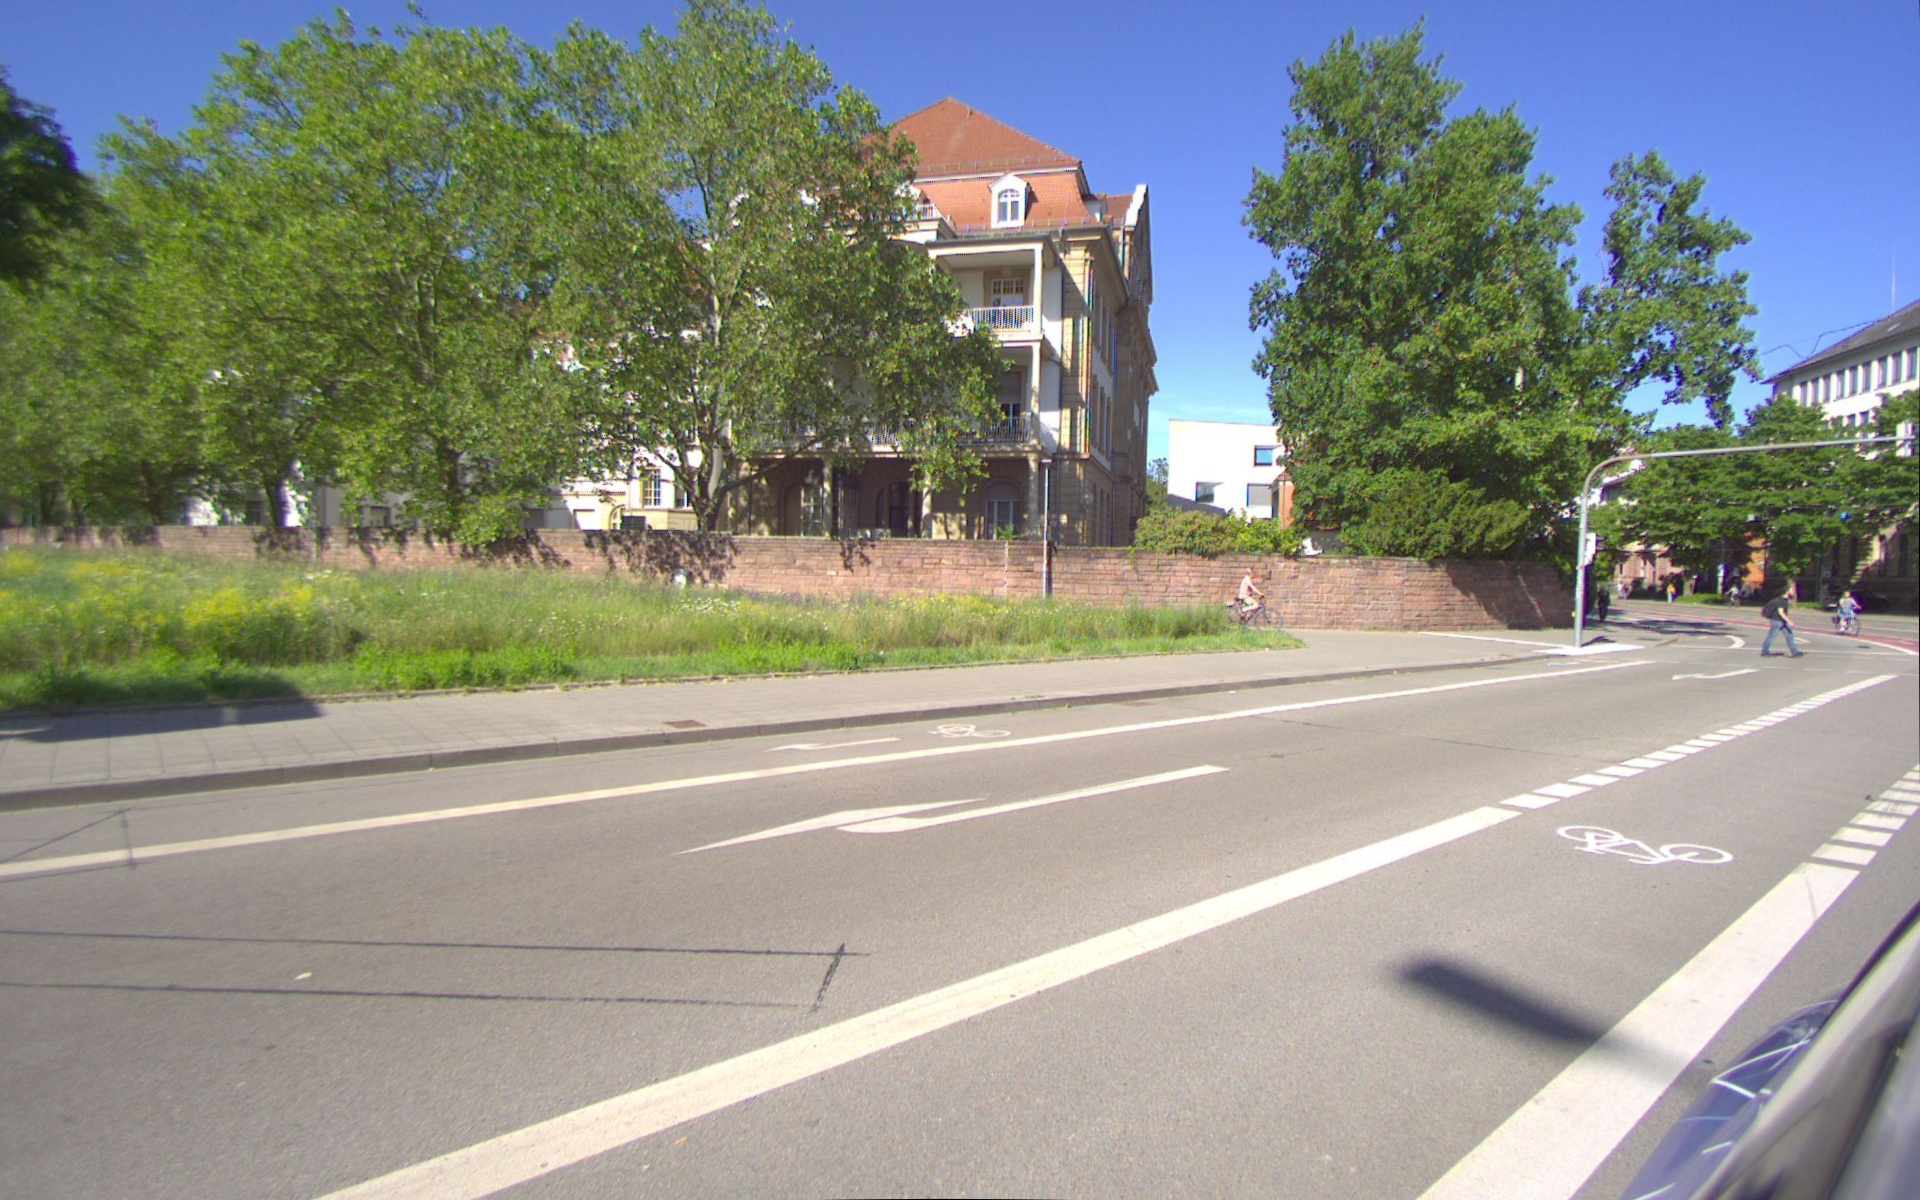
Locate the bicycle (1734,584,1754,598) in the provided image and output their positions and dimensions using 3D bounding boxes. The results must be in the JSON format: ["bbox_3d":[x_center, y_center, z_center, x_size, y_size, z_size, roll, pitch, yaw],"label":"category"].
[{"bbox_3d":[58.652,-0.667,75.723,0.593,1.019,1.975,0,1,20],"label":"bicycle"}]

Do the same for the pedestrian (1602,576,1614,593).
[{"bbox_3d":[69.867,-1.706,109.157,0.745,1.835,0.978,1,1,10],"label":"pedestrian"}]

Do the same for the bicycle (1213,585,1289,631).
[{"bbox_3d":[7.709,0.193,26.802,1.860,1.083,0.721,3,1,18],"label":"bicycle"}]

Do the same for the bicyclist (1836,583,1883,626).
[{"bbox_3d":[34.365,0.169,38.692,0.859,1.579,1.272,2,2,20],"label":"bicyclist"}]

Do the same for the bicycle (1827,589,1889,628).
[{"bbox_3d":[34.375,0.305,38.790,0.753,1.385,2.720,2,2,20],"label":"bicycle"}]

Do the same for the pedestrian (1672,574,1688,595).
[{"bbox_3d":[63.592,-1.392,89.396,0.745,1.835,0.978,1,1,9],"label":"pedestrian"}]

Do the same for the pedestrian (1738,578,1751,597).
[{"bbox_3d":[58.627,-0.946,75.659,0.589,1.420,0.641,0,0,21],"label":"pedestrian"}]

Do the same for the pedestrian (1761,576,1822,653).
[{"bbox_3d":[21.196,0.356,25.803,0.718,1.872,0.961,0,3,-38],"label":"pedestrian"}]

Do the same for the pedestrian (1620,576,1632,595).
[{"bbox_3d":[66.366,-1.444,100.838,0.747,1.836,0.974,1,-2,17],"label":"pedestrian"}]

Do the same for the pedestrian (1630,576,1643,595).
[{"bbox_3d":[67.224,-1.445,100.574,0.747,1.836,0.975,1,-2,16],"label":"pedestrian"}]

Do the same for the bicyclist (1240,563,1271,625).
[{"bbox_3d":[7.811,-0.167,26.760,0.767,1.626,0.719,1,1,17],"label":"bicyclist"}]

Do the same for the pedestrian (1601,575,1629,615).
[{"bbox_3d":[29.135,-0.246,45.038,0.935,1.742,0.983,2,2,37],"label":"pedestrian"}]
